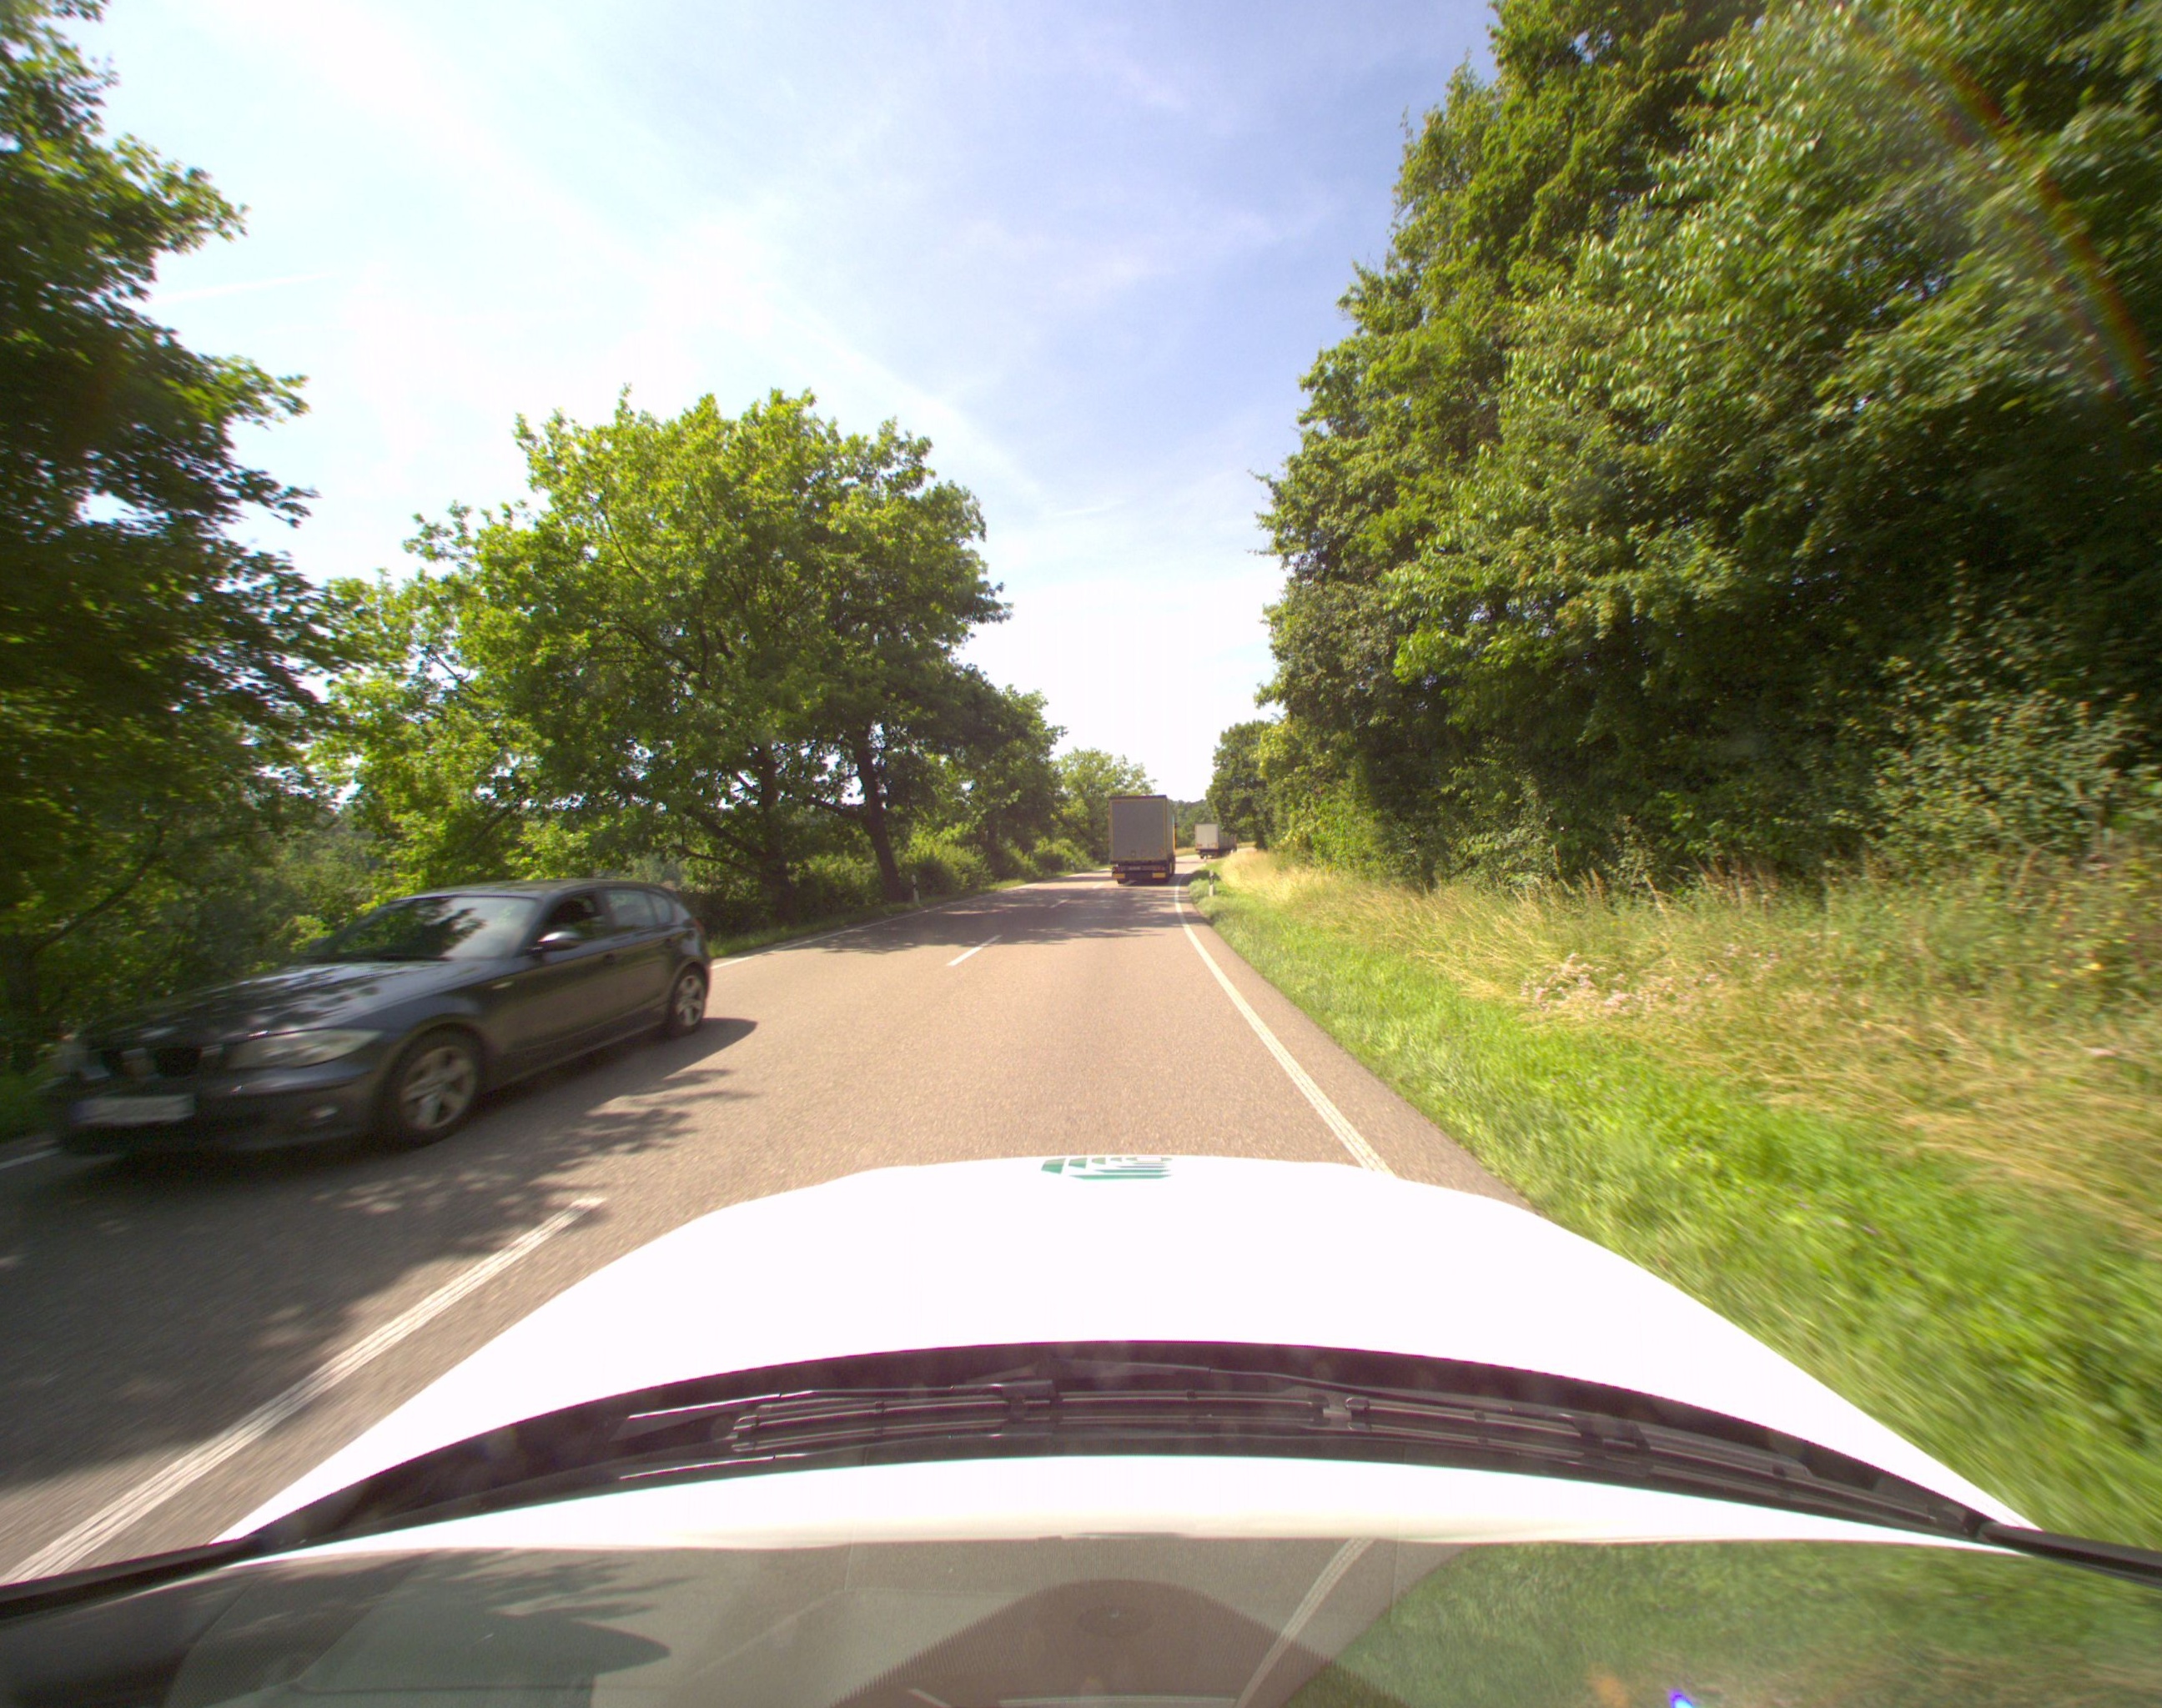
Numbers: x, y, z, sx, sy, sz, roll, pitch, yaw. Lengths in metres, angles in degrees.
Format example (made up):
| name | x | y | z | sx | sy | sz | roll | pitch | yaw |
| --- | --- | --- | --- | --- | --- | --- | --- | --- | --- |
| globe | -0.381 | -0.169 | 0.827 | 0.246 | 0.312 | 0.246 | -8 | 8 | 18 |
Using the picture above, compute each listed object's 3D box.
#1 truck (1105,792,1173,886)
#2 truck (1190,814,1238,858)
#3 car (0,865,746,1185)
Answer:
| name | x | y | z | sx | sy | sz | roll | pitch | yaw |
| --- | --- | --- | --- | --- | --- | --- | --- | --- | --- |
| truck | 3.389 | -0.750 | 43.096 | 2.787 | 4.068 | 15.356 | -1 | 1 | 7 |
| truck | 16.094 | -2.146 | 97.029 | 3.080 | 4.705 | 16.666 | -2 | 1 | 17 |
| car | -4.332 | 0.847 | 6.009 | 1.751 | 1.432 | 4.272 | -2 | 0 | 2 |
